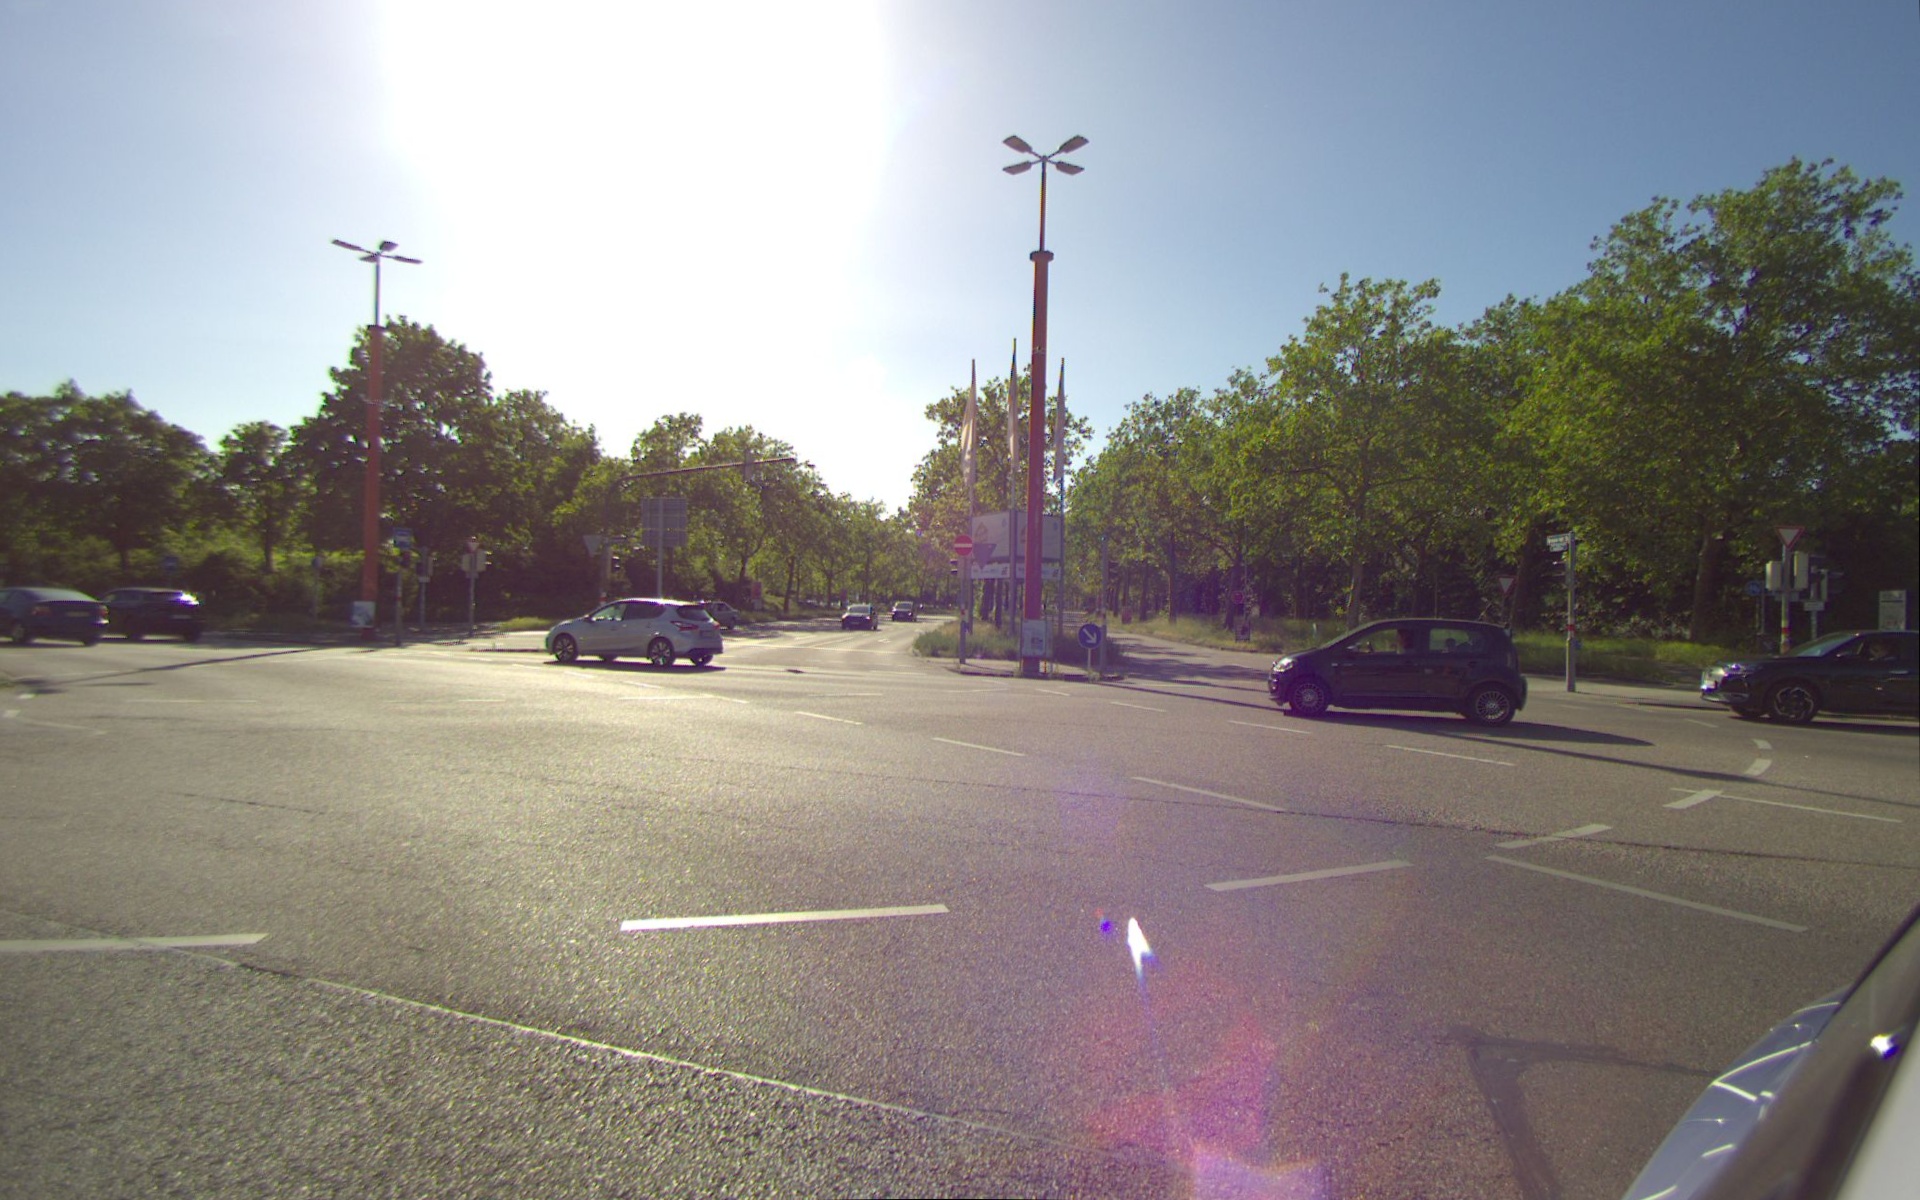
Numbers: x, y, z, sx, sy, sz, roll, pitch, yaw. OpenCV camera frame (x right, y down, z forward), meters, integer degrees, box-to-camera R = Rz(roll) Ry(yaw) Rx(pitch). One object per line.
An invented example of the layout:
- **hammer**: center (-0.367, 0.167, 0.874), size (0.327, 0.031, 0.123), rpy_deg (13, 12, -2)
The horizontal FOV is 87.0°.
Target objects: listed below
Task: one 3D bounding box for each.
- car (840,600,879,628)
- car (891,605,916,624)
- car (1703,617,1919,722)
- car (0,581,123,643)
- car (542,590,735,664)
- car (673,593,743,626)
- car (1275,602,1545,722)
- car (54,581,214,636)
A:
- **car**: center (-5.899, 0.821, 59.679), size (1.741, 1.527, 4.222), rpy_deg (1, -1, 2)
- **car**: center (-4.857, 1.259, 87.184), size (1.741, 1.527, 4.221), rpy_deg (1, -2, 3)
- **car**: center (14.325, 1.071, 15.908), size (3.914, 1.513, 1.703), rpy_deg (1, -1, 20)
- **car**: center (-23.318, 0.277, 25.437), size (3.999, 1.438, 1.713), rpy_deg (1, -1, 20)
- **car**: center (-7.480, 0.606, 23.601), size (4.086, 1.537, 1.715), rpy_deg (1, -2, 20)
- **car**: center (-12.618, 0.516, 50.913), size (1.837, 1.537, 4.122), rpy_deg (1, -2, 11)
- **car**: center (6.434, 0.844, 14.827), size (3.409, 1.513, 1.612), rpy_deg (1, -1, 19)
- **car**: center (-24.300, 0.250, 29.773), size (4.174, 1.527, 1.761), rpy_deg (1, -2, 21)
